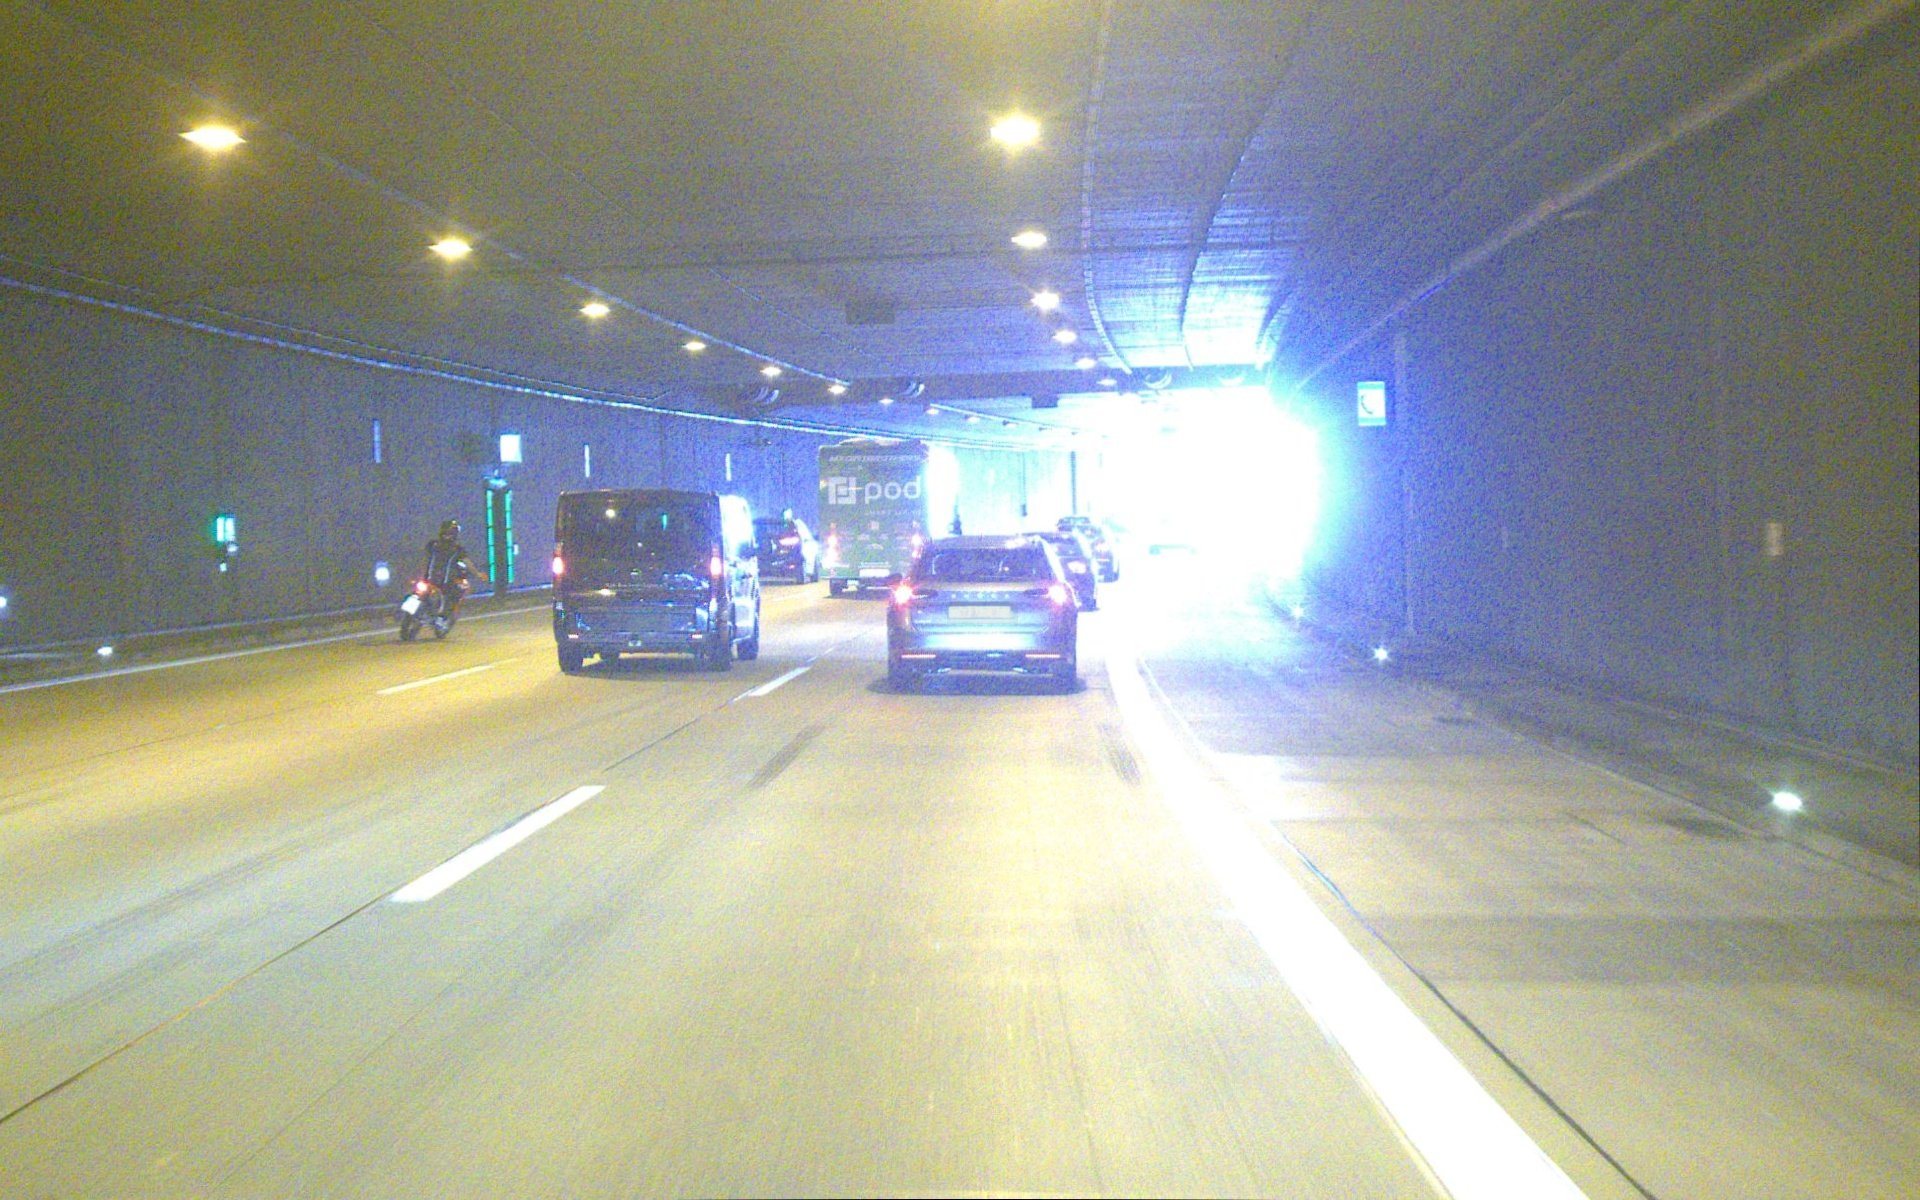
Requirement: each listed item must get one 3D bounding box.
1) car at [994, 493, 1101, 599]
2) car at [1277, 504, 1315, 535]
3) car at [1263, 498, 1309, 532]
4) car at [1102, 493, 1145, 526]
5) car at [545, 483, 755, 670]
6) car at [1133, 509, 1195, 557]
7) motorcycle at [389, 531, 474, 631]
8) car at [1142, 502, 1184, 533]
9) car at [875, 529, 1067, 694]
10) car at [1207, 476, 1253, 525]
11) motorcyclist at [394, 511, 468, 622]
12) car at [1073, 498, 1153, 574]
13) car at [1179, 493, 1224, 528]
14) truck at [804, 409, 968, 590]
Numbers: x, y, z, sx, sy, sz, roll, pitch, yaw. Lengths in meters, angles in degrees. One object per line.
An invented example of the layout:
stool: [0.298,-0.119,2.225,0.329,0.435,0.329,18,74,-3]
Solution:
car: [1.620,-0.979,62.322,1.857,1.848,4.000,0,1,3]
car: [18.168,-4.356,185.903,1.931,1.637,3.999,0,1,7]
car: [15.855,-4.107,167.099,1.931,1.637,3.999,0,1,9]
car: [8.301,-4.604,174.441,1.931,1.637,3.999,0,1,7]
car: [-3.349,-0.300,37.793,1.909,1.937,3.871,0,2,1]
car: [7.468,-2.455,126.404,1.930,1.637,4.000,0,-1,-2]
motorcycle: [-7.019,-0.242,45.790,0.683,1.292,2.398,0,0,2]
car: [11.459,-4.655,193.993,1.931,1.637,3.998,0,-1,9]
car: [0.155,0.063,33.271,1.742,1.459,3.871,0,2,2]
car: [12.105,-4.454,154.093,1.994,2.007,3.999,0,-1,5]
motorcyclist: [-7.031,-0.435,45.733,0.777,1.448,1.069,0,-1,2]
car: [3.841,-1.573,86.017,1.950,1.766,3.999,0,-1,3]
car: [12.195,-4.517,173.410,1.994,1.626,3.999,0,-1,8]
truck: [-1.498,-2.099,73.216,3.039,3.660,7.392,0,1,2]
